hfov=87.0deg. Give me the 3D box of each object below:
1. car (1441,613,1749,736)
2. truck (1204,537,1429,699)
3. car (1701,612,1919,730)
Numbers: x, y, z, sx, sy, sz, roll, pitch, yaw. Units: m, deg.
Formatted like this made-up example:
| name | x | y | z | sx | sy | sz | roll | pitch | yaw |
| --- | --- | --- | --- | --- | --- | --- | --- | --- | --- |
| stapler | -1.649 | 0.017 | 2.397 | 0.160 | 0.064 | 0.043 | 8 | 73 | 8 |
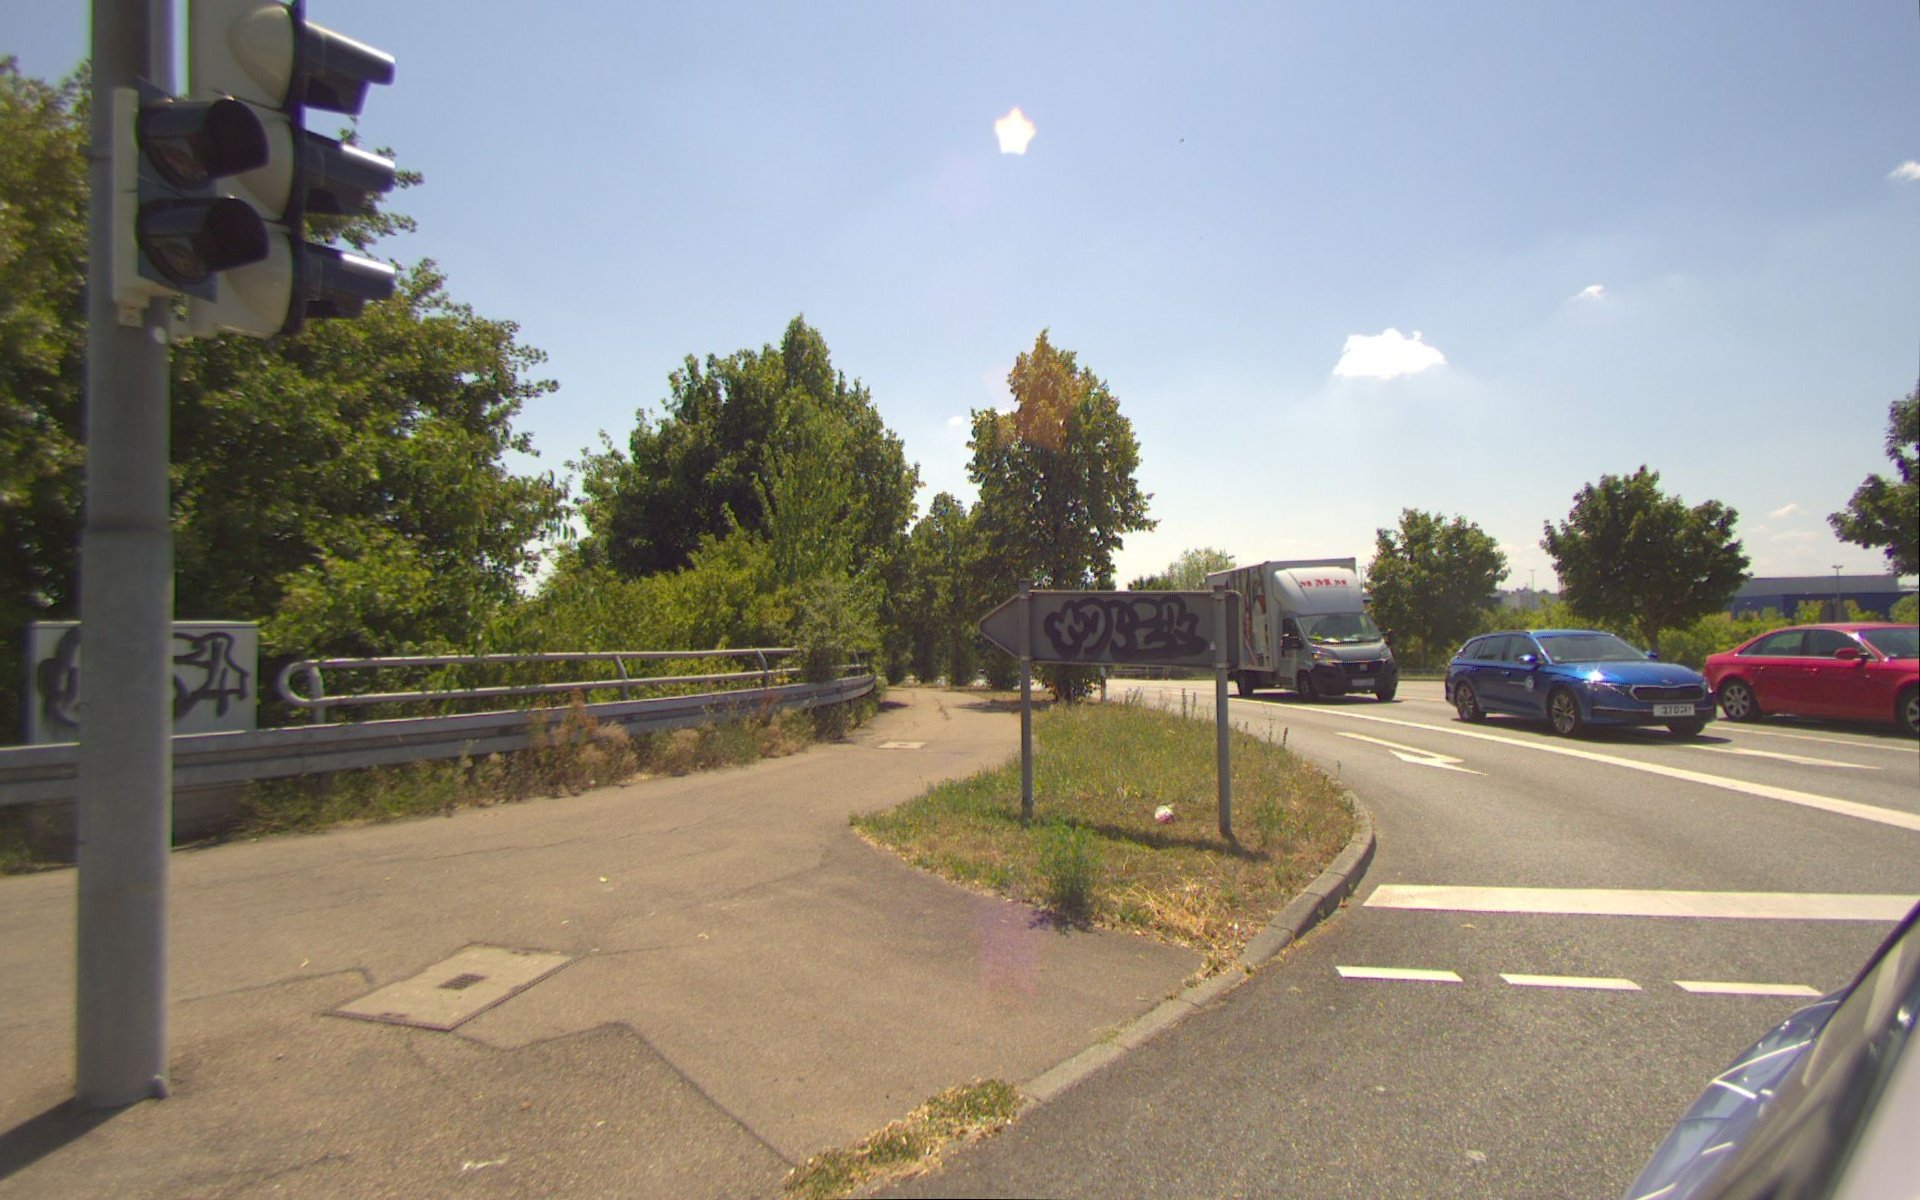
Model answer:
| name | x | y | z | sx | sy | sz | roll | pitch | yaw |
| --- | --- | --- | --- | --- | --- | --- | --- | --- | --- |
| car | 8.957 | 1.024 | 14.828 | 1.681 | 1.482 | 4.485 | -2 | -3 | 1 |
| truck | 8.509 | 0.579 | 25.286 | 2.367 | 3.392 | 7.205 | -2 | -3 | -5 |
| car | 12.286 | 0.871 | 13.291 | 1.634 | 1.406 | 4.450 | -1 | -2 | -2 |
